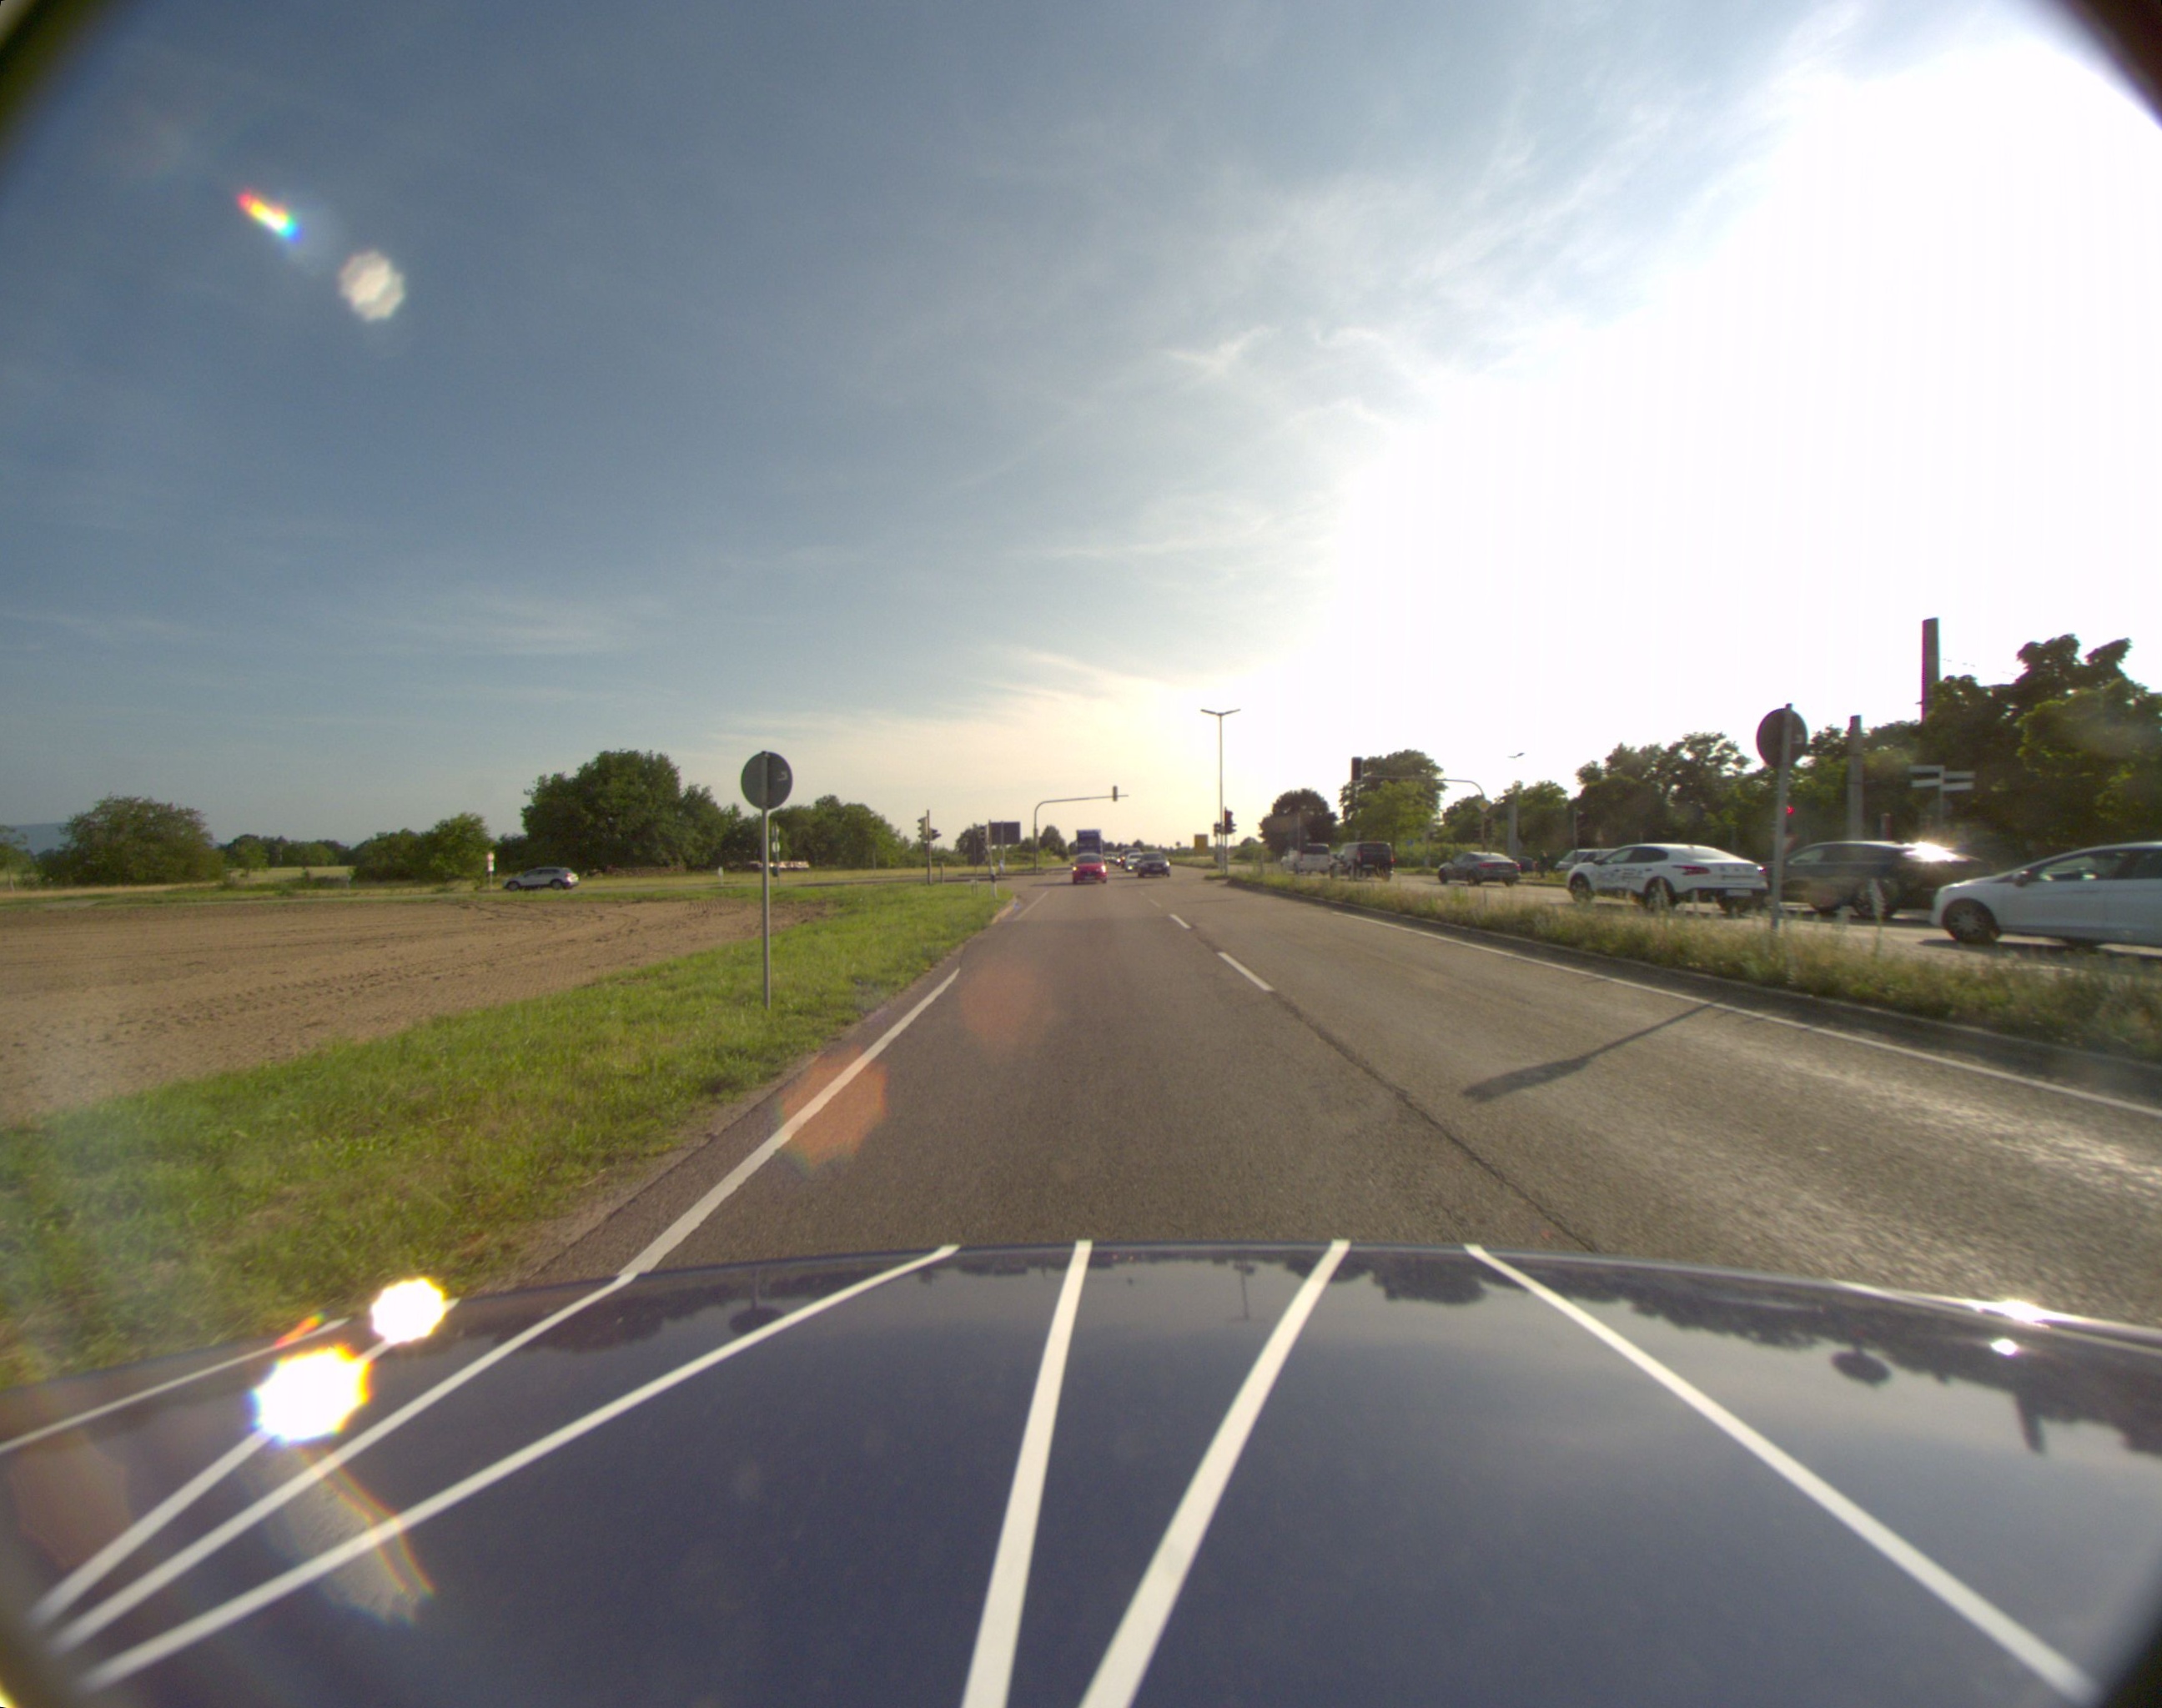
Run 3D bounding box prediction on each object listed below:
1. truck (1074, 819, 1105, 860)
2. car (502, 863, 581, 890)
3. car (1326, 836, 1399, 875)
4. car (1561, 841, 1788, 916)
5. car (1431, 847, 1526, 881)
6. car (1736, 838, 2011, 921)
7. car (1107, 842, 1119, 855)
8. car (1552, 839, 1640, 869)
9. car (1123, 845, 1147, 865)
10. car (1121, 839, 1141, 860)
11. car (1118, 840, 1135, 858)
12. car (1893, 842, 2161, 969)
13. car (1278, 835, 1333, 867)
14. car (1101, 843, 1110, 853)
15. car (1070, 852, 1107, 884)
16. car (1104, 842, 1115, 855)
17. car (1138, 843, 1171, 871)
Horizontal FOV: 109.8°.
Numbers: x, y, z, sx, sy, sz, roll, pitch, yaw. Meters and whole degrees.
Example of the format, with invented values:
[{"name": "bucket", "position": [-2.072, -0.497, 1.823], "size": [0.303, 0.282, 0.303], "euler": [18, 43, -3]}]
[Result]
[{"name": "truck", "position": [0.929, -1.454, 78.755], "size": [2.849, 3.897, 10.103], "euler": [-3, 1, 1]}, {"name": "car", "position": [-38.014, 1.568, 53.650], "size": [4.001, 1.641, 1.997], "euler": [-3, 1, -14]}, {"name": "car", "position": [13.414, 0.034, 36.501], "size": [1.862, 1.735, 4.529], "euler": [1, 1, 1]}, {"name": "car", "position": [13.499, 0.466, 17.722], "size": [1.756, 1.499, 4.583], "euler": [1, 1, 1]}, {"name": "car", "position": [17.139, 0.400, 33.026], "size": [1.862, 1.337, 4.373], "euler": [1, 1, 1]}, {"name": "car", "position": [16.938, 0.467, 16.590], "size": [1.801, 1.580, 4.000], "euler": [1, 1, 1]}, {"name": "car", "position": [4.532, -0.786, 107.700], "size": [1.636, 1.833, 4.000], "euler": [-3, 1, 1]}, {"name": "car", "position": [36.798, 0.000, 54.387], "size": [4.844, 1.876, 2.253], "euler": [-3, 1, -4]}, {"name": "car", "position": [4.110, 0.043, 58.496], "size": [1.636, 1.442, 4.000], "euler": [-3, 1, 1]}, {"name": "car", "position": [4.715, -0.436, 71.890], "size": [1.636, 1.833, 4.000], "euler": [-3, 1, 1]}, {"name": "car", "position": [5.058, -0.579, 84.743], "size": [1.636, 1.833, 4.000], "euler": [-3, 1, 1]}, {"name": "car", "position": [13.465, 0.602, 9.601], "size": [1.823, 1.461, 4.294], "euler": [1, 1, 1]}, {"name": "car", "position": [13.751, -0.179, 46.854], "size": [1.998, 1.818, 5.078], "euler": [1, 1, 1]}, {"name": "car", "position": [4.561, -1.132, 142.194], "size": [1.636, 1.833, 4.000], "euler": [-3, 1, 1]}, {"name": "car", "position": [0.418, 0.668, 38.623], "size": [1.735, 1.467, 4.000], "euler": [-3, 1, 1]}, {"name": "car", "position": [4.447, -0.885, 117.991], "size": [1.636, 1.833, 4.000], "euler": [-3, 1, 1]}, {"name": "car", "position": [4.322, 0.161, 45.056], "size": [1.636, 1.500, 4.000], "euler": [-3, 1, 1]}]
